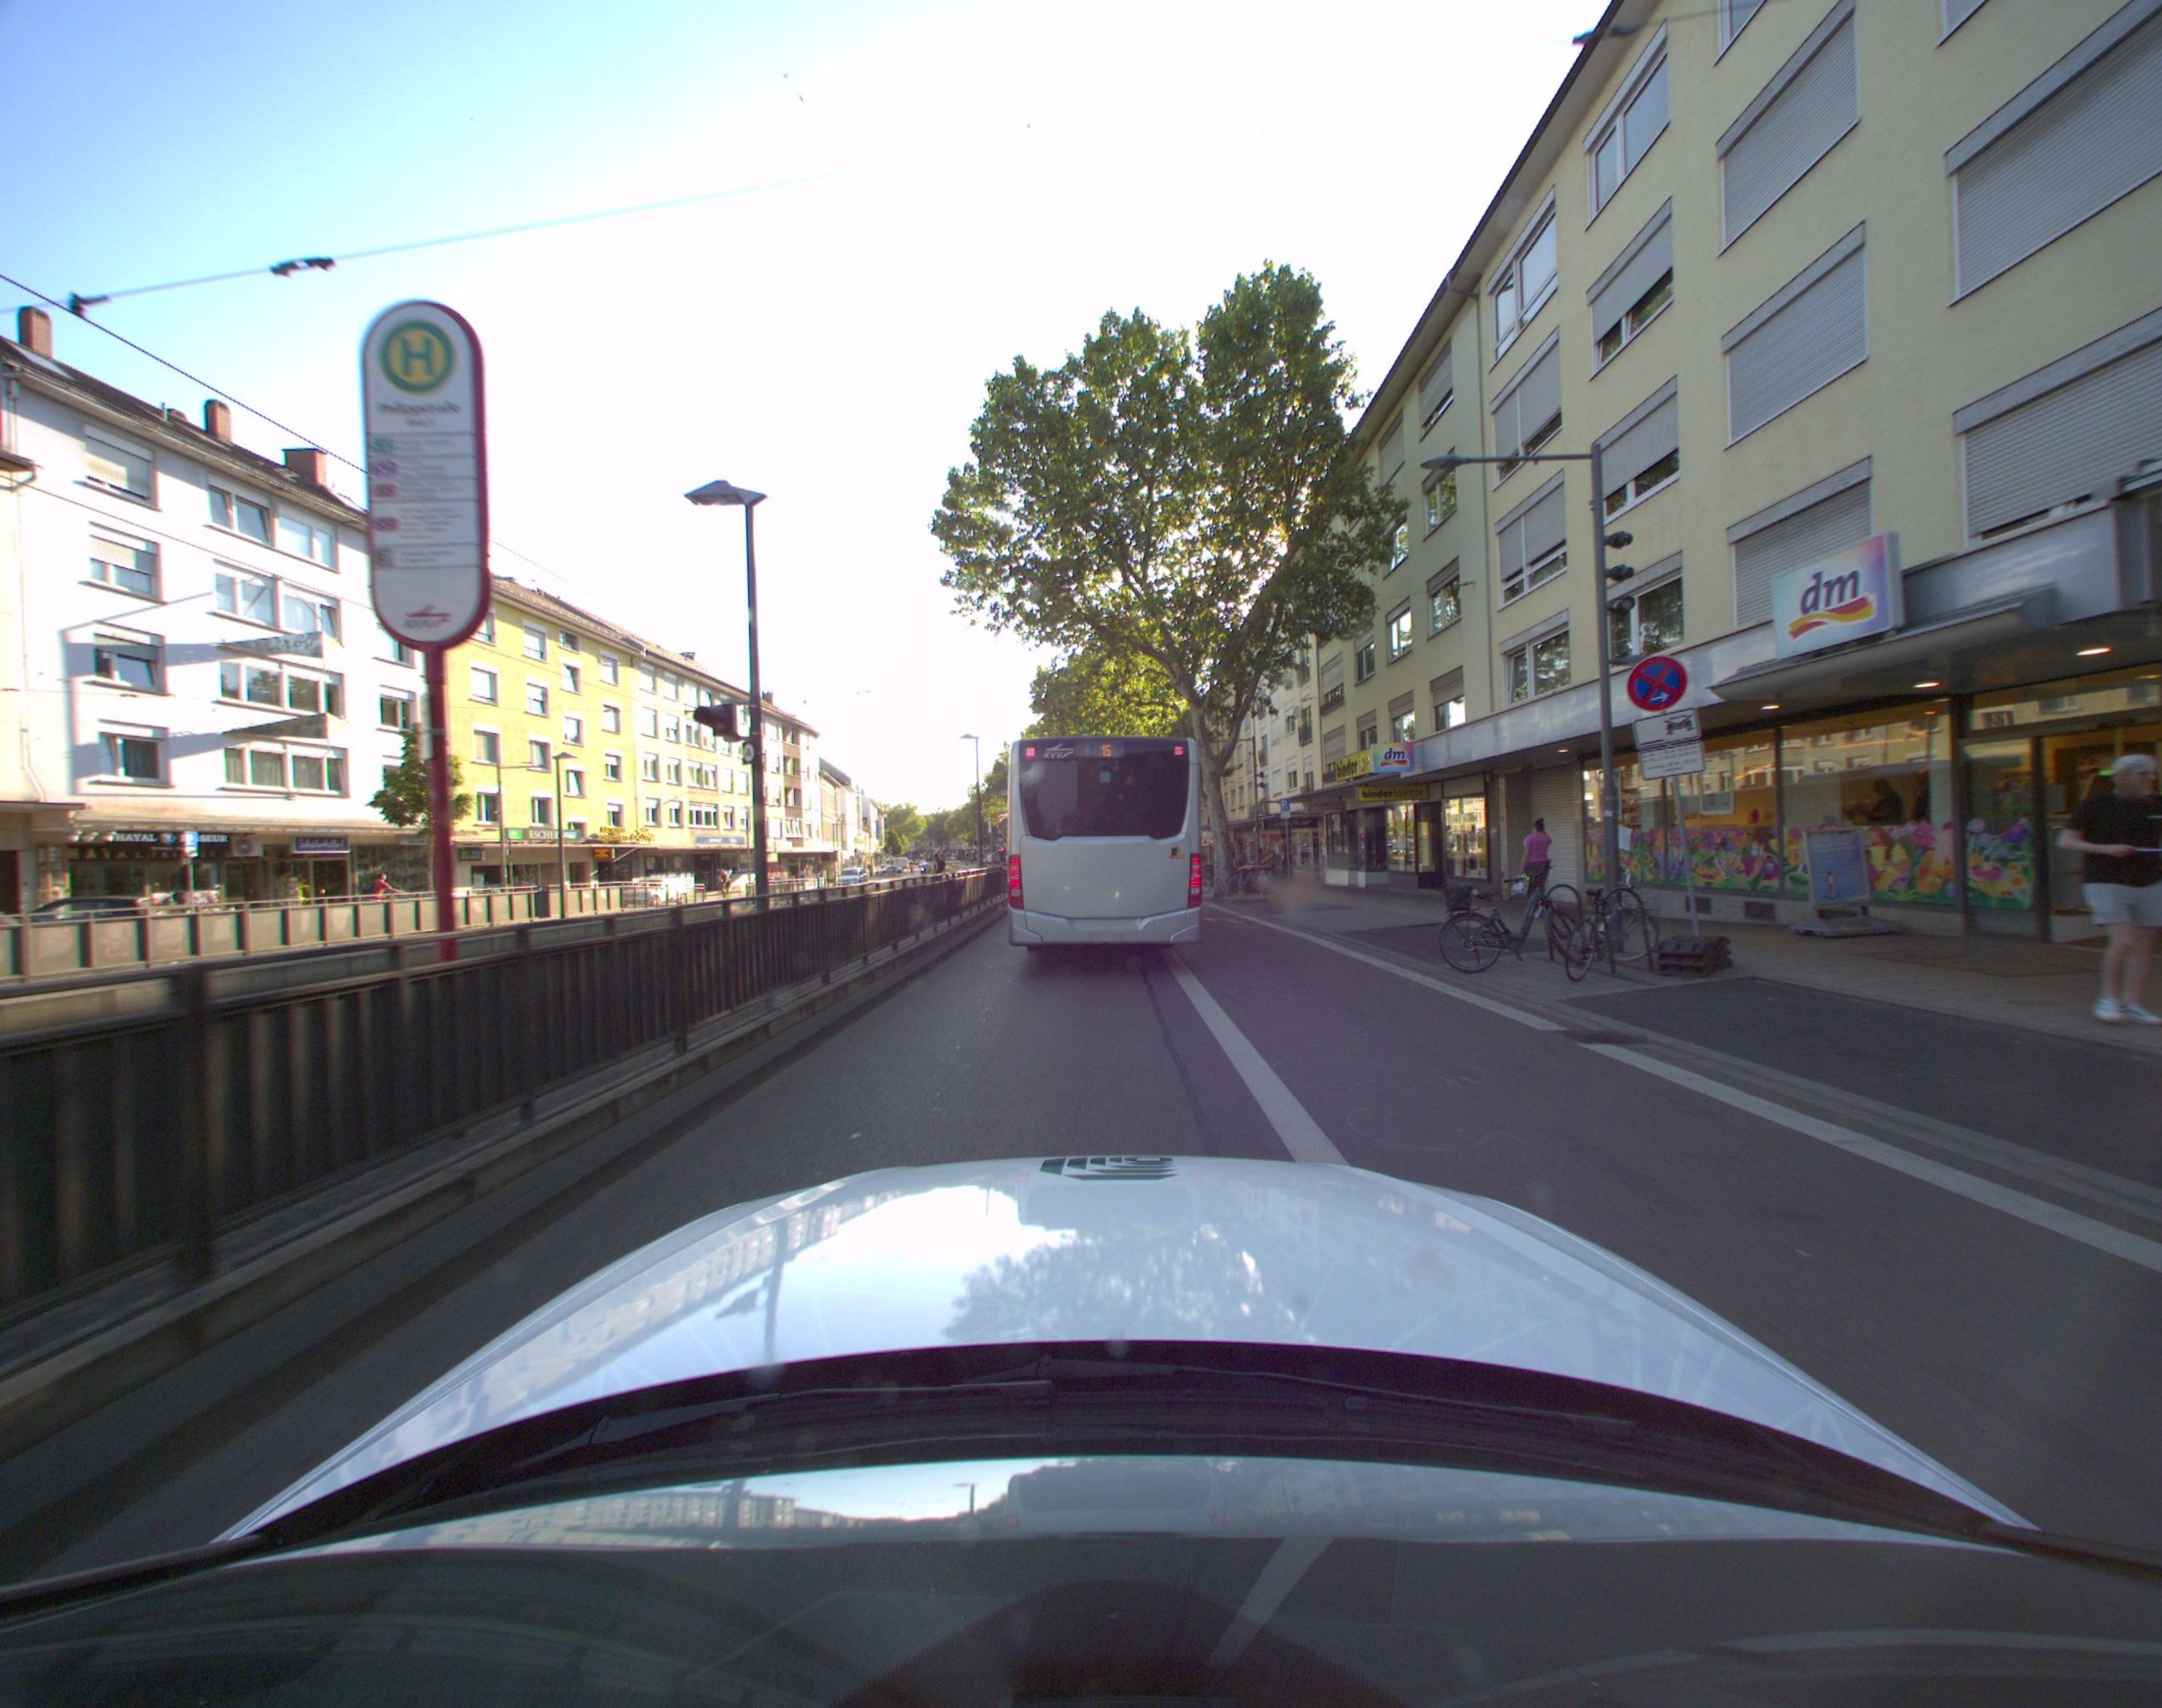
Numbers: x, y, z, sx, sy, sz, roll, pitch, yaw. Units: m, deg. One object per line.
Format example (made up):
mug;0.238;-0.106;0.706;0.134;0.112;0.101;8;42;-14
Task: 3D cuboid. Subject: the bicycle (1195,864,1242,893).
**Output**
bicycle;5.898;1.059;35.044;1.897;1.105;0.519;-4;-1;6

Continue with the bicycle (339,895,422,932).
bicycle;-23.564;1.994;27.464;0.702;1.159;2.202;0;-2;7

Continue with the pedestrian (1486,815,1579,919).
pedestrian;8.126;0.236;14.732;0.964;1.763;1.134;-3;-1;1

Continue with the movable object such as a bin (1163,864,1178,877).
movable object such as a bin;7.157;1.283;65.149;0.932;1.023;0.832;0;-1;-30

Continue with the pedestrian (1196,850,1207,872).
pedestrian;10.588;0.614;71.441;0.704;1.791;0.787;-5;-1;-1

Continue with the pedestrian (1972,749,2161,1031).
pedestrian;7.133;0.209;5.668;0.768;1.800;0.934;-5;0;13

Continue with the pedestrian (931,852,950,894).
pedestrian;-6.306;0.860;36.619;0.740;1.849;0.589;-2;0;-5

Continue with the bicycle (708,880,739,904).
bicycle;-19.975;2.125;45.546;0.715;1.230;2.278;-3;0;0

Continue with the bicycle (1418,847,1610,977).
bicycle;5.104;0.679;9.719;1.775;1.311;0.696;-7;-1;12

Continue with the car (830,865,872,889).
car;-18.174;1.808;64.528;1.987;1.717;4.434;-2;0;-1

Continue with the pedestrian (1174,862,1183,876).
pedestrian;7.706;1.159;64.276;0.582;1.115;0.749;0;-1;-6

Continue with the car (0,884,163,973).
car;-23.297;1.612;18.052;1.840;1.800;3.793;0;-1;39

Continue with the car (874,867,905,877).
car;-31.350;2.954;133.202;4.577;1.412;1.976;-2;-1;-43

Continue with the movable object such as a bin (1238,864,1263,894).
movable object such as a bin;6.437;0.949;30.983;0.720;1.072;0.643;-5;-1;-2

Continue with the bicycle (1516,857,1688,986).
bicycle;5.721;0.700;8.922;1.797;1.124;0.658;-7;0;-27

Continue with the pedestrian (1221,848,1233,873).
pedestrian;10.669;0.504;59.423;0.629;1.804;0.630;-2;-1;29

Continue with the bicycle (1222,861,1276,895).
bicycle;5.938;0.858;28.880;1.711;1.118;0.745;-2;-4;1

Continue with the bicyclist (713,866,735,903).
bicyclist;-19.962;1.710;45.523;0.761;2.013;0.911;-2;0;0

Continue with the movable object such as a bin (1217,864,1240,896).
movable object such as a bin;5.561;0.973;30.657;0.718;1.102;0.645;-6;-1;7

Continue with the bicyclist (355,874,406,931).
bicyclist;-23.582;1.611;27.435;0.689;1.887;1.059;0;-2;7

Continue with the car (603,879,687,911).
car;-22.054;2.035;41.430;1.988;1.478;4.407;0;-1;-2

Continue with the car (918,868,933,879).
car;-24.232;3.044;126.967;1.720;1.509;3.469;-4;0;-5

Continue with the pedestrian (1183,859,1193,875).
pedestrian;8.368;1.026;63.628;0.582;1.275;0.757;0;-1;-6

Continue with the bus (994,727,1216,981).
bus;0.248;0.004;13.683;2.670;3.083;7.110;-2;0;-1

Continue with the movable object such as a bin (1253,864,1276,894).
movable object such as a bin;6.876;0.921;30.509;0.716;1.072;0.647;-4;-1;19

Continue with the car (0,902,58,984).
car;-22.287;1.736;15.290;1.840;1.491;3.793;0;-1;39

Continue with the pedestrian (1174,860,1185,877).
pedestrian;7.481;1.092;61.904;0.605;1.225;0.743;-2;-1;-6

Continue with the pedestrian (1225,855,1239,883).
pedestrian;9.026;0.880;48.575;0.620;1.586;0.626;-4;-1;-1
